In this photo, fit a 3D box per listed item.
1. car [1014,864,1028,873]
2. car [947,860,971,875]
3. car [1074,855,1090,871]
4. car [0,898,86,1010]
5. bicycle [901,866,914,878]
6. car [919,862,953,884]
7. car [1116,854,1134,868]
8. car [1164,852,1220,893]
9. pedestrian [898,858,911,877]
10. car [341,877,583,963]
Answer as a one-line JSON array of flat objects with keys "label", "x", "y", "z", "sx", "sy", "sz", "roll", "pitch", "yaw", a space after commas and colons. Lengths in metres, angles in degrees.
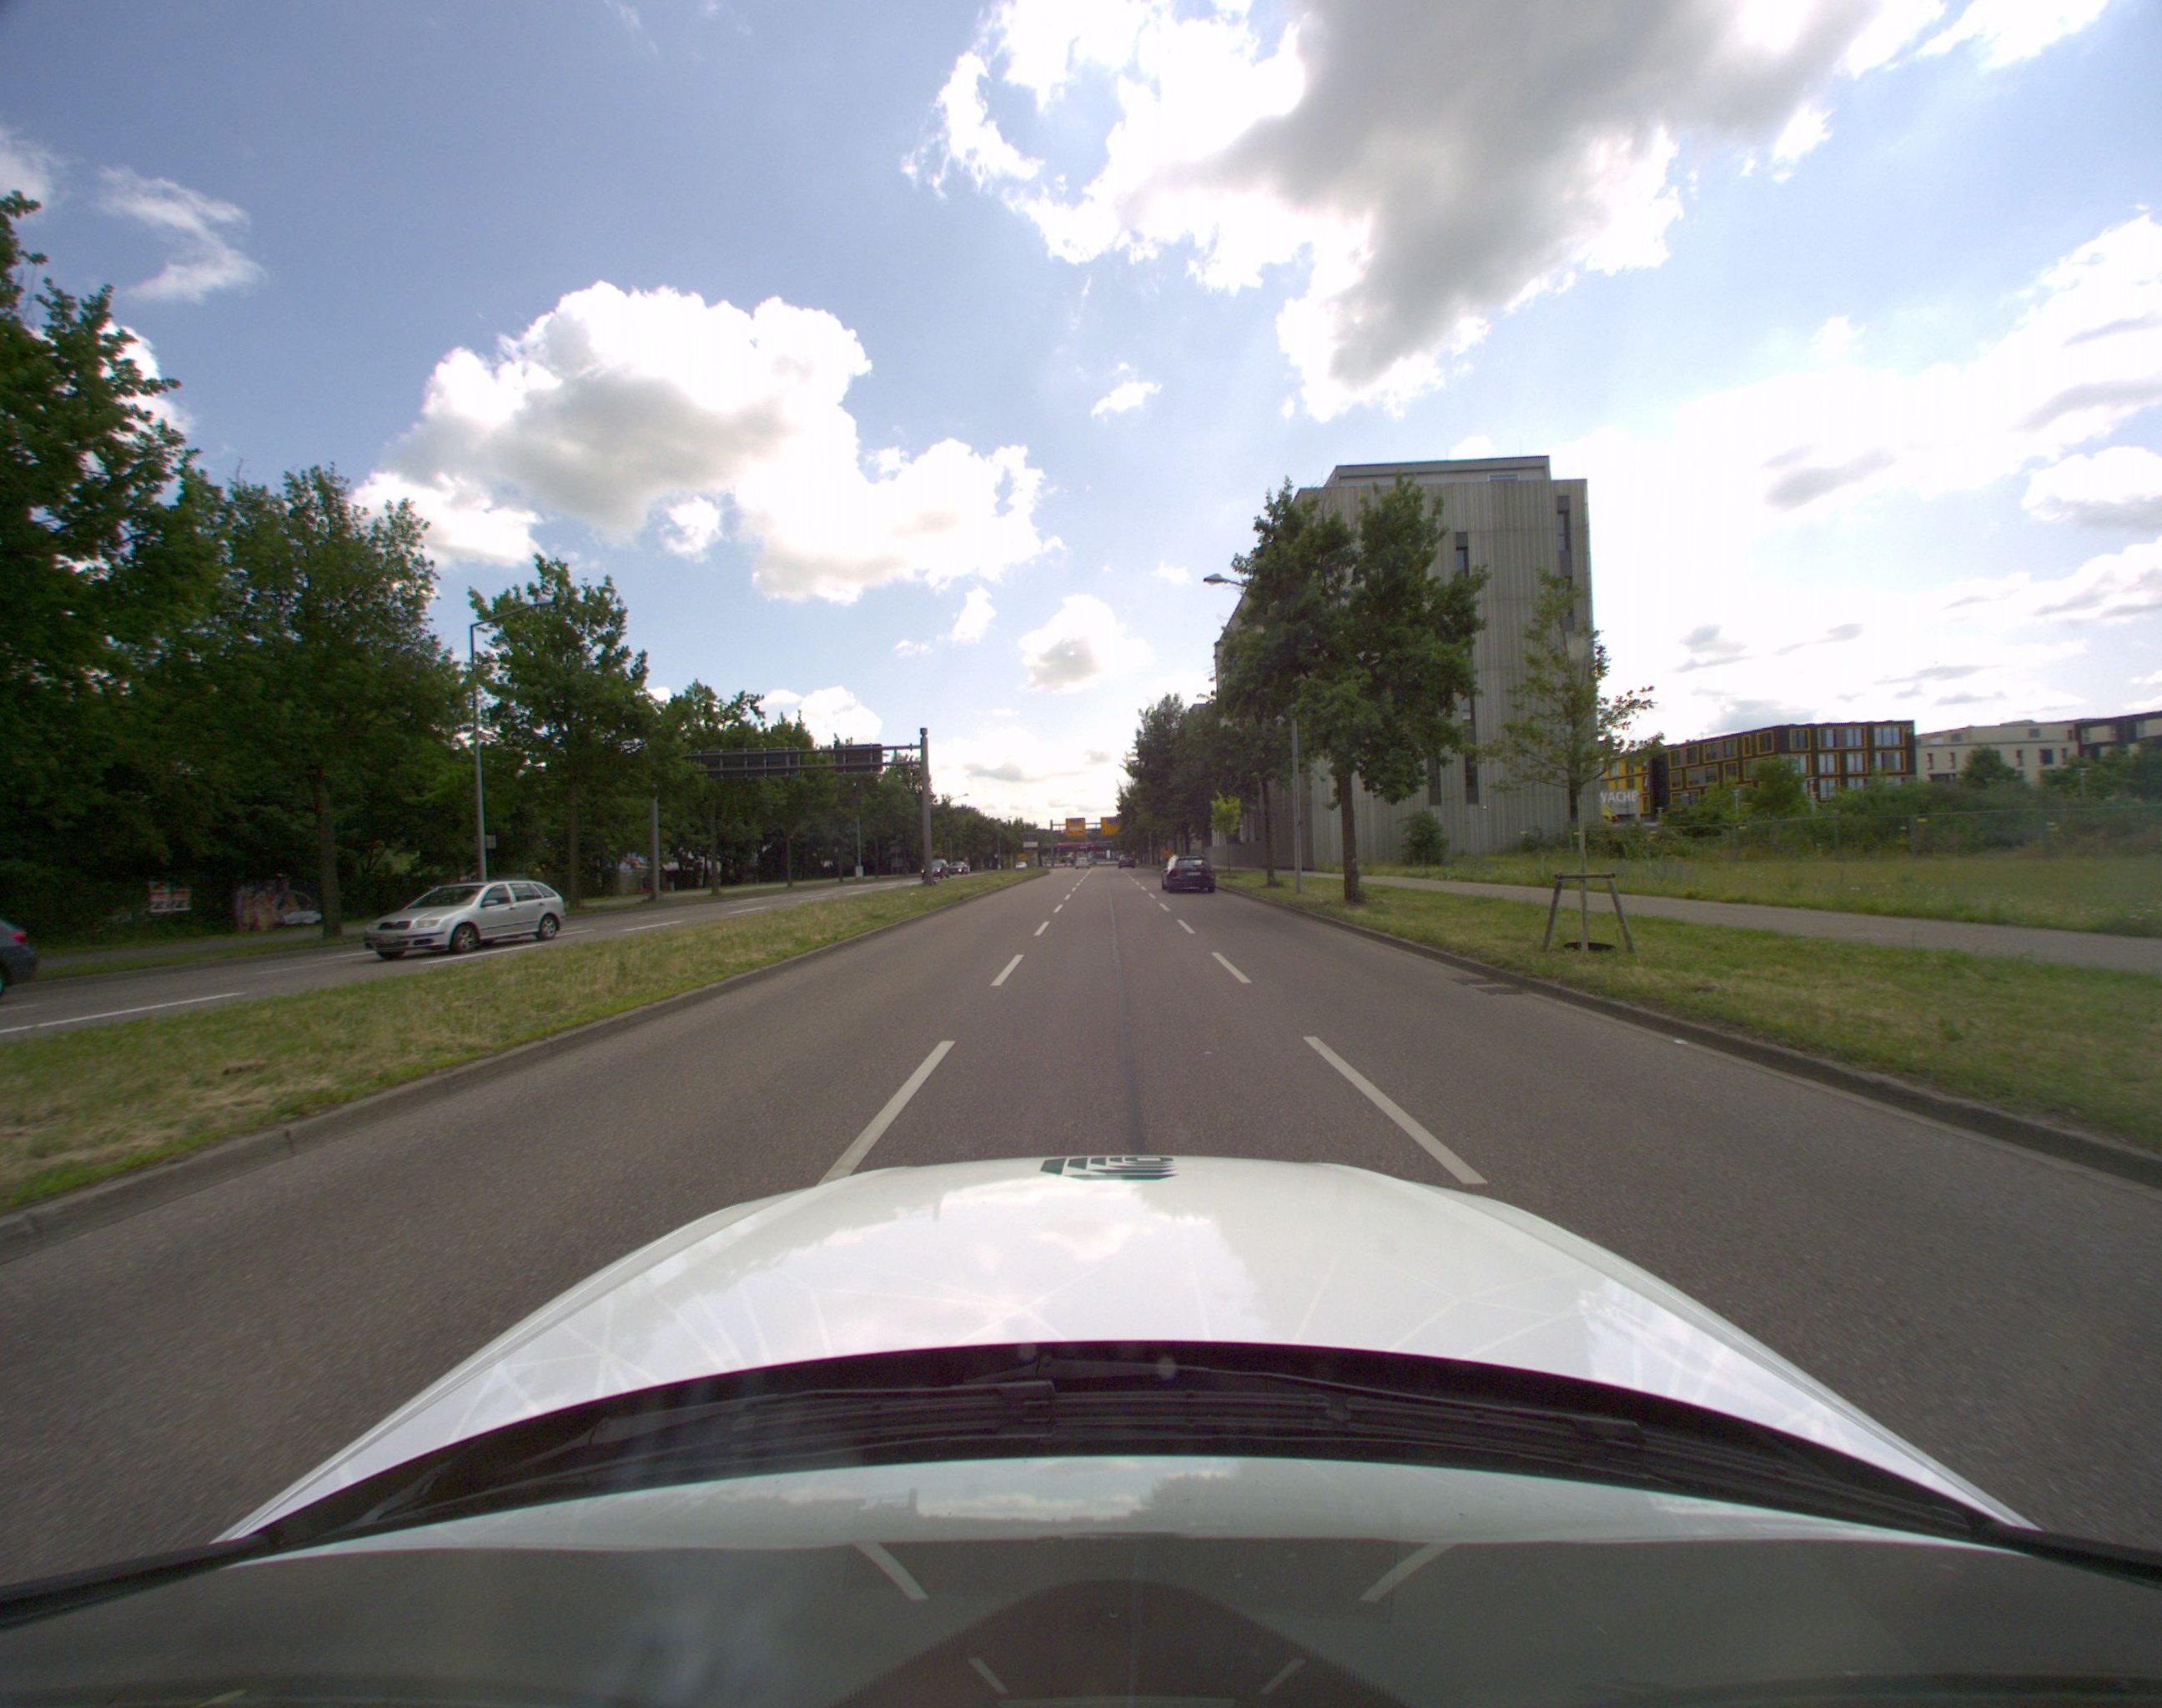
[{"label": "car", "x": -10.491, "y": 2.499, "z": 142.738, "sx": 1.633, "sy": 1.329, "sz": 4.387, "roll": -2, "pitch": 0, "yaw": 5}, {"label": "car", "x": -13.579, "y": 1.489, "z": 90.882, "sx": 1.735, "sy": 1.545, "sz": 4.574, "roll": -3, "pitch": 0, "yaw": 1}, {"label": "car", "x": 0.127, "y": 1.190, "z": 107.444, "sx": 1.988, "sy": 2.014, "sz": 3.998, "roll": -1, "pitch": -1, "yaw": -1}, {"label": "car", "x": -16.512, "y": 1.503, "z": 10.224, "sx": 1.757, "sy": 1.577, "sz": 5.032, "roll": -3, "pitch": 0, "yaw": 1}, {"label": "bicycle", "x": -19.125, "y": 1.958, "z": 89.719, "sx": 0.804, "sy": 1.226, "sz": 2.503, "roll": -2, "pitch": 0, "yaw": 2}, {"label": "car", "x": -11.819, "y": 1.523, "z": 66.653, "sx": 1.734, "sy": 1.569, "sz": 4.279, "roll": -3, "pitch": 0, "yaw": 3}, {"label": "car", "x": 5.296, "y": 0.805, "z": 97.042, "sx": 1.985, "sy": 1.626, "sz": 4.314, "roll": -2, "pitch": 0, "yaw": 4}, {"label": "car", "x": 4.251, "y": 0.694, "z": 31.764, "sx": 1.678, "sy": 1.463, "sz": 4.000, "roll": -1, "pitch": -1, "yaw": 0}, {"label": "pedestrian", "x": -19.460, "y": 1.486, "z": 89.597, "sx": 0.966, "sy": 2.013, "sz": 1.250, "roll": -4, "pitch": -1, "yaw": 2}, {"label": "car", "x": -13.006, "y": 1.311, "z": 17.536, "sx": 1.756, "sy": 1.440, "sz": 4.310, "roll": -3, "pitch": 0, "yaw": 2}]
